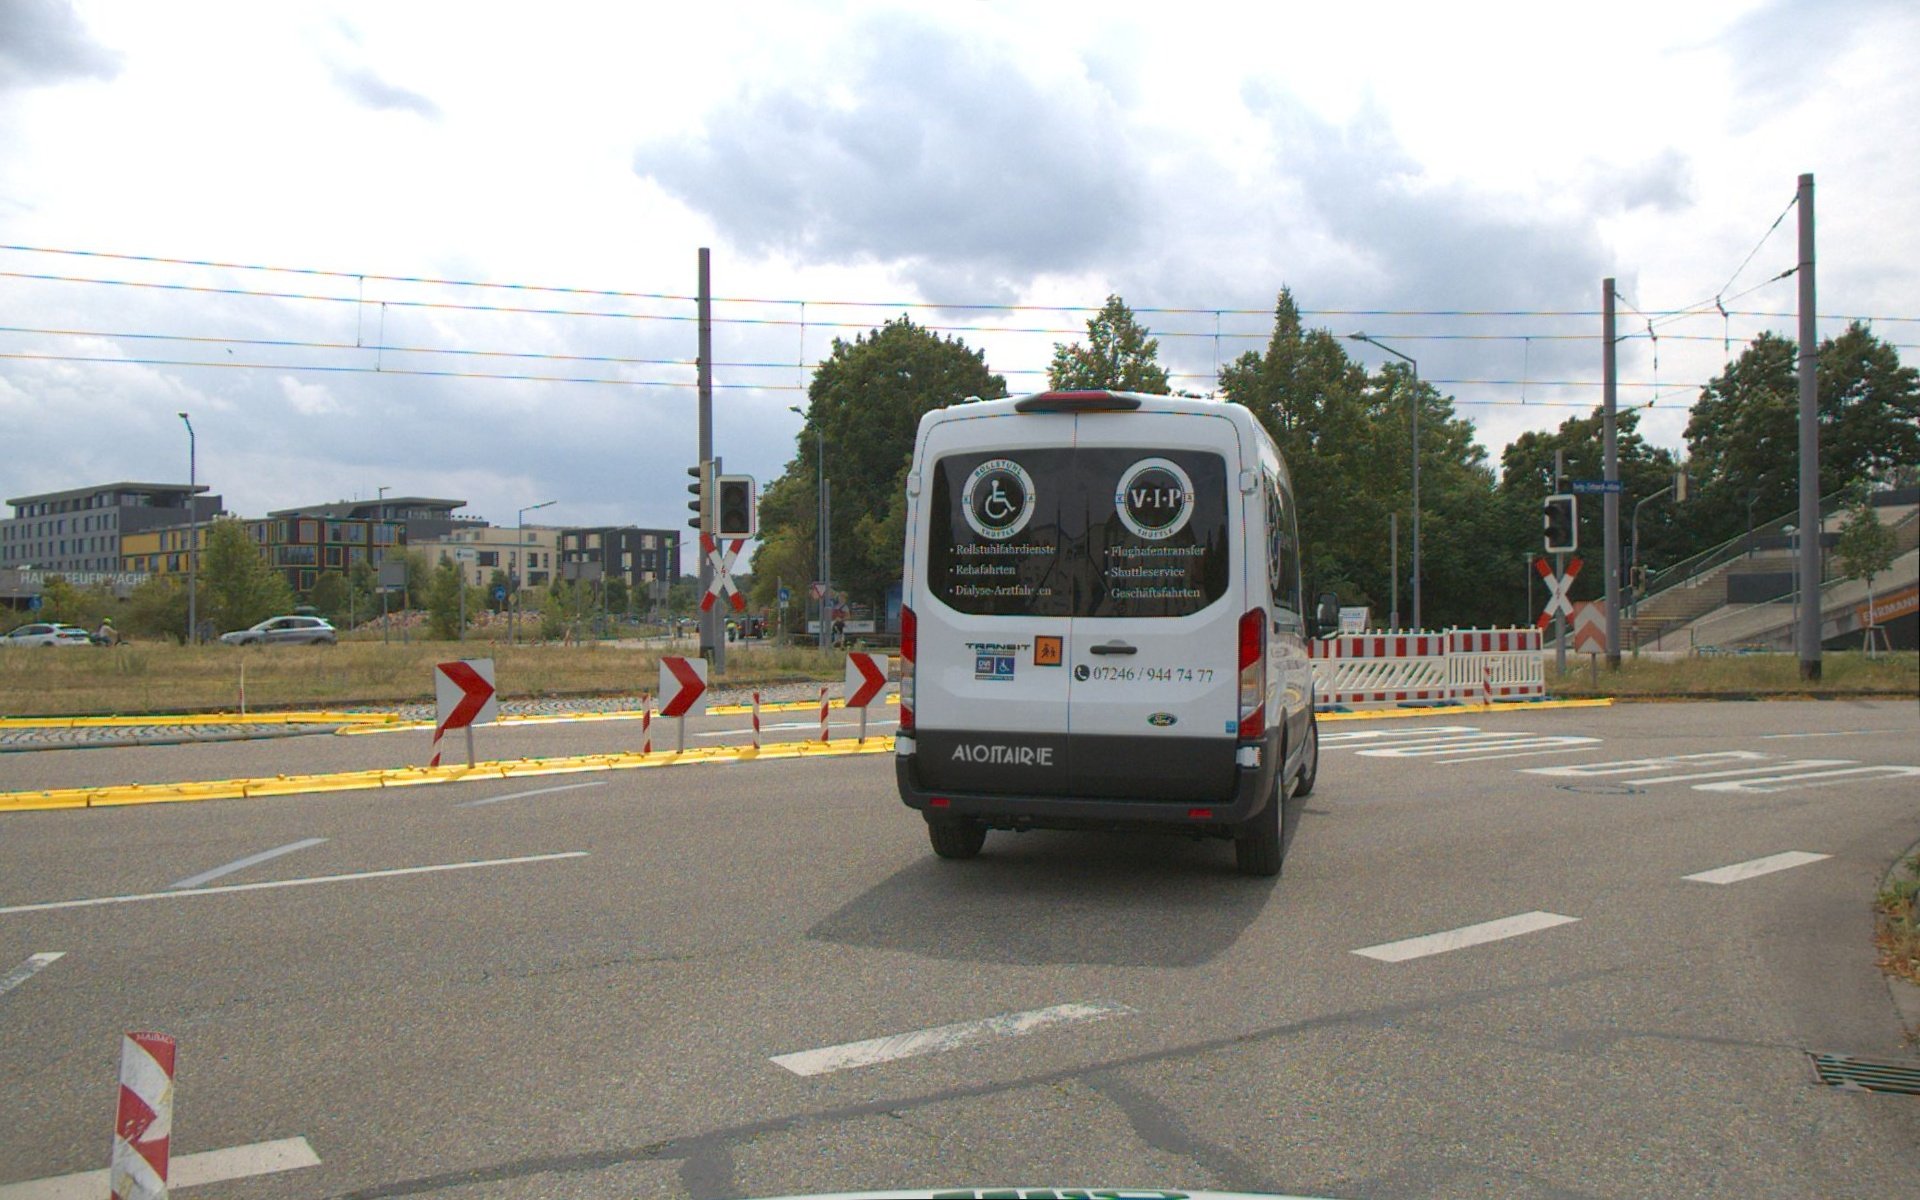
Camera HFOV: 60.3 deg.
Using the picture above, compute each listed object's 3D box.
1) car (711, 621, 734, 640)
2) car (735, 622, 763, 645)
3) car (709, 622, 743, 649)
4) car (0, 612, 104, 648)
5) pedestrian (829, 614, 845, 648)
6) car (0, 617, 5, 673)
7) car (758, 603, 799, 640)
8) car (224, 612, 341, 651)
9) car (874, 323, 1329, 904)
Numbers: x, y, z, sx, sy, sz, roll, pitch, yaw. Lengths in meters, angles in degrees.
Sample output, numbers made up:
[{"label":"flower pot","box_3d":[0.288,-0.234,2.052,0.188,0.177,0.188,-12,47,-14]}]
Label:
[{"label":"car","box_3d":[-23.422,3.014,163.220,1.954,1.881,3.996,0,-2,-4]},{"label":"car","box_3d":[-17.394,2.772,136.564,1.954,1.881,3.997,0,-2,-3]},{"label":"car","box_3d":[-16.929,2.574,119.806,1.953,1.881,3.998,0,-2,-2]},{"label":"car","box_3d":[-37.961,1.258,68.761,3.902,1.489,1.834,0,-2,12]},{"label":"pedestrian","box_3d":[-5.886,1.471,79.058,0.440,1.622,0.667,-1,-1,42]},{"label":"car","box_3d":[-36.577,1.600,59.169,3.935,2.049,1.985,1,-2,-24]},{"label":"car","box_3d":[-10.633,1.269,96.641,1.959,2.049,3.986,1,-2,-13]},{"label":"car","box_3d":[-26.691,1.229,65.175,3.957,1.489,1.809,1,-2,-37]},{"label":"car","box_3d":[1.262,0.094,10.796,2.081,2.745,5.636,-1,-1,14]}]
